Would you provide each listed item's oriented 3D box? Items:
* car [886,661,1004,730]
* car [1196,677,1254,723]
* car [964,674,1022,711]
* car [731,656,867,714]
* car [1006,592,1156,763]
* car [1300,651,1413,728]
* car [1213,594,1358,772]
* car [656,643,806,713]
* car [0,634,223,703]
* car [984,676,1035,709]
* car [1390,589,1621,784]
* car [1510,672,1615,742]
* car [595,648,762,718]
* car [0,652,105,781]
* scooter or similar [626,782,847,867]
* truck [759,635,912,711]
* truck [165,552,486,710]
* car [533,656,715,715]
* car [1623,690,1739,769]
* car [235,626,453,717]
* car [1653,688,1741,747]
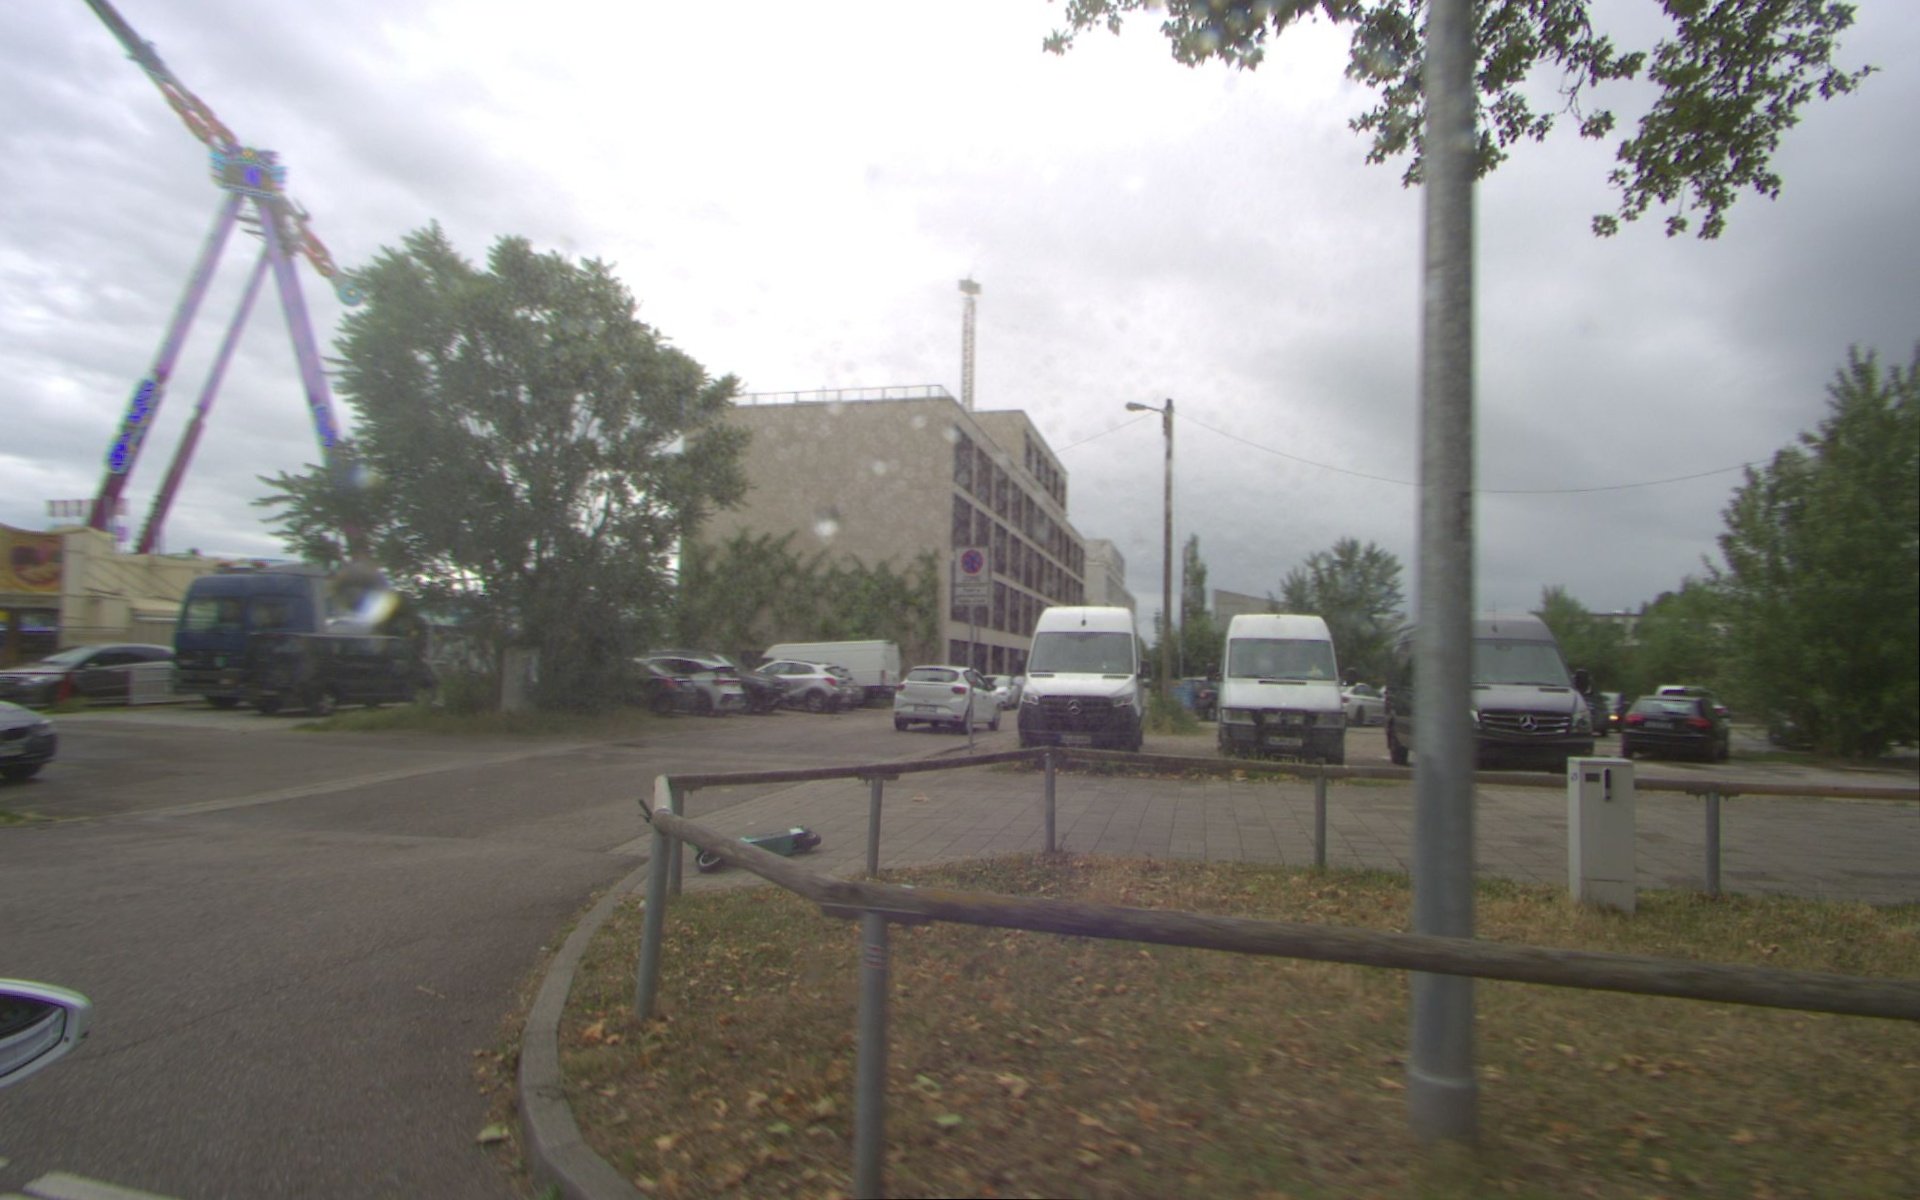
[{"bbox_3d":[-0.259,2.219,23.827,1.856,1.470,4.001,0,-4,13],"label":"car"},{"bbox_3d":[9.281,3.463,35.292,1.856,1.470,4.001,0,-4,13],"label":"car"},{"bbox_3d":[1.490,4.013,43.762,1.856,1.470,4.002,0,-4,12],"label":"car"},{"bbox_3d":[-5.293,2.791,33.127,3.925,1.664,1.892,2,-4,13],"label":"car"},{"bbox_3d":[2.427,1.378,18.369,2.061,2.586,6.045,0,-4,13],"label":"car"},{"bbox_3d":[13.352,2.970,33.606,1.979,2.372,4.684,-2,-5,43],"label":"car"},{"bbox_3d":[5.473,1.502,17.506,2.002,2.564,5.809,0,-6,14],"label":"car"},{"bbox_3d":[-6.850,2.324,30.092,3.925,1.902,1.892,1,-3,13],"label":"car"},{"bbox_3d":[-22.108,1.774,25.979,1.963,1.594,4.589,0,-4,13],"label":"car"},{"bbox_3d":[2.449,4.460,48.807,1.856,1.470,4.002,0,-4,12],"label":"car"},{"bbox_3d":[8.511,1.440,16.272,2.131,2.551,5.806,1,-6,17],"label":"car"},{"bbox_3d":[18.600,3.233,30.848,1.979,1.971,3.968,-2,-5,43],"label":"car"},{"bbox_3d":[-7.727,2.274,27.607,3.925,1.664,1.893,2,-4,13],"label":"car"},{"bbox_3d":[-12.675,1.313,11.795,3.924,1.448,1.870,0,-4,11],"label":"car"},{"bbox_3d":[-1.785,1.757,8.007,1.315,0.353,1.172,-1,-3,39],"label":"scooter or similar"},{"bbox_3d":[-5.082,2.938,40.907,5.752,2.761,2.054,1,-3,18],"label":"truck"},{"bbox_3d":[-17.616,1.037,28.769,2.551,3.868,8.219,0,-4,13],"label":"truck"},{"bbox_3d":[-8.485,2.181,25.459,3.925,1.364,1.894,0,-6,13],"label":"car"},{"bbox_3d":[16.300,2.850,22.703,1.974,1.537,3.978,-2,-5,36],"label":"car"},{"bbox_3d":[-15.388,1.760,25.358,1.963,2.039,4.588,1,-3,13],"label":"car"},{"bbox_3d":[21.968,3.448,29.935,1.974,1.537,3.978,-2,-5,36],"label":"car"}]
